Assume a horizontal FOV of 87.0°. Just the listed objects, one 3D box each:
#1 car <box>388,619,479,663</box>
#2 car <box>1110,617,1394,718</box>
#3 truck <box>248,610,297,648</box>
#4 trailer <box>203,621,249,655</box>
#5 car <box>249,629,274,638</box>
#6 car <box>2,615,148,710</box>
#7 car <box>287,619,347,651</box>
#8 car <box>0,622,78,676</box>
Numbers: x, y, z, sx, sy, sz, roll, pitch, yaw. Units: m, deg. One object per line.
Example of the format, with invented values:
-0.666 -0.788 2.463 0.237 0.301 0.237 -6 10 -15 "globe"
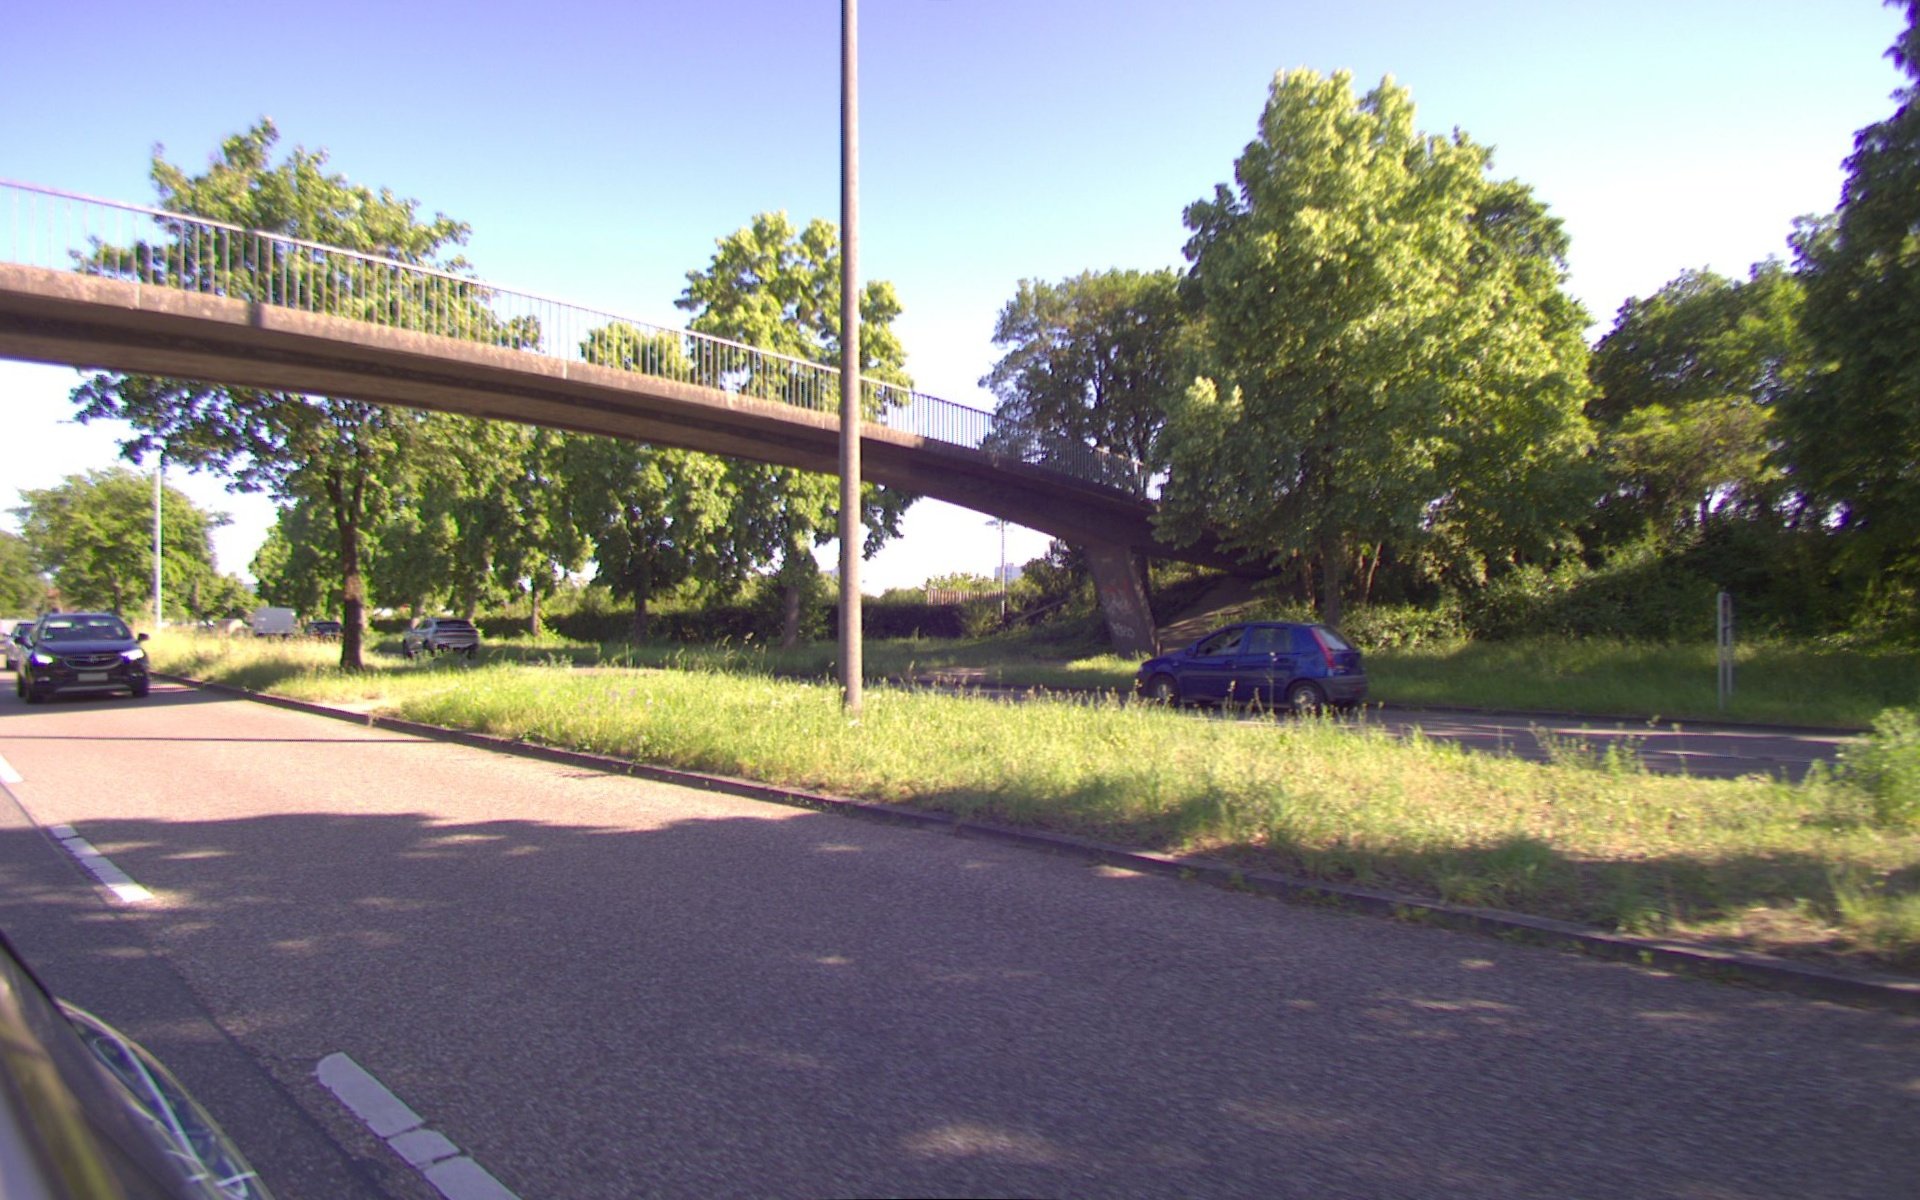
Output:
-21.252 1.632 40.744 4.901 1.659 1.712 -2 -3 43 "car"
4.667 1.034 16.589 4.255 1.442 1.523 -1 -3 42 "car"
-48.102 2.039 70.729 2.145 2.532 5.751 3 -3 -40 "truck"
-44.002 2.271 60.650 4.283 1.924 1.545 -2 -2 44 "trailer"
-115.275 5.466 167.060 1.670 1.447 4.952 1 -2 -12 "car"
-17.312 1.122 19.728 4.516 1.627 1.786 -1 -1 44 "car"
-35.016 1.901 55.077 4.580 1.632 1.730 -2 -2 44 "car"
-29.972 1.555 32.989 1.797 1.574 4.652 -1 -1 -41 "car"
